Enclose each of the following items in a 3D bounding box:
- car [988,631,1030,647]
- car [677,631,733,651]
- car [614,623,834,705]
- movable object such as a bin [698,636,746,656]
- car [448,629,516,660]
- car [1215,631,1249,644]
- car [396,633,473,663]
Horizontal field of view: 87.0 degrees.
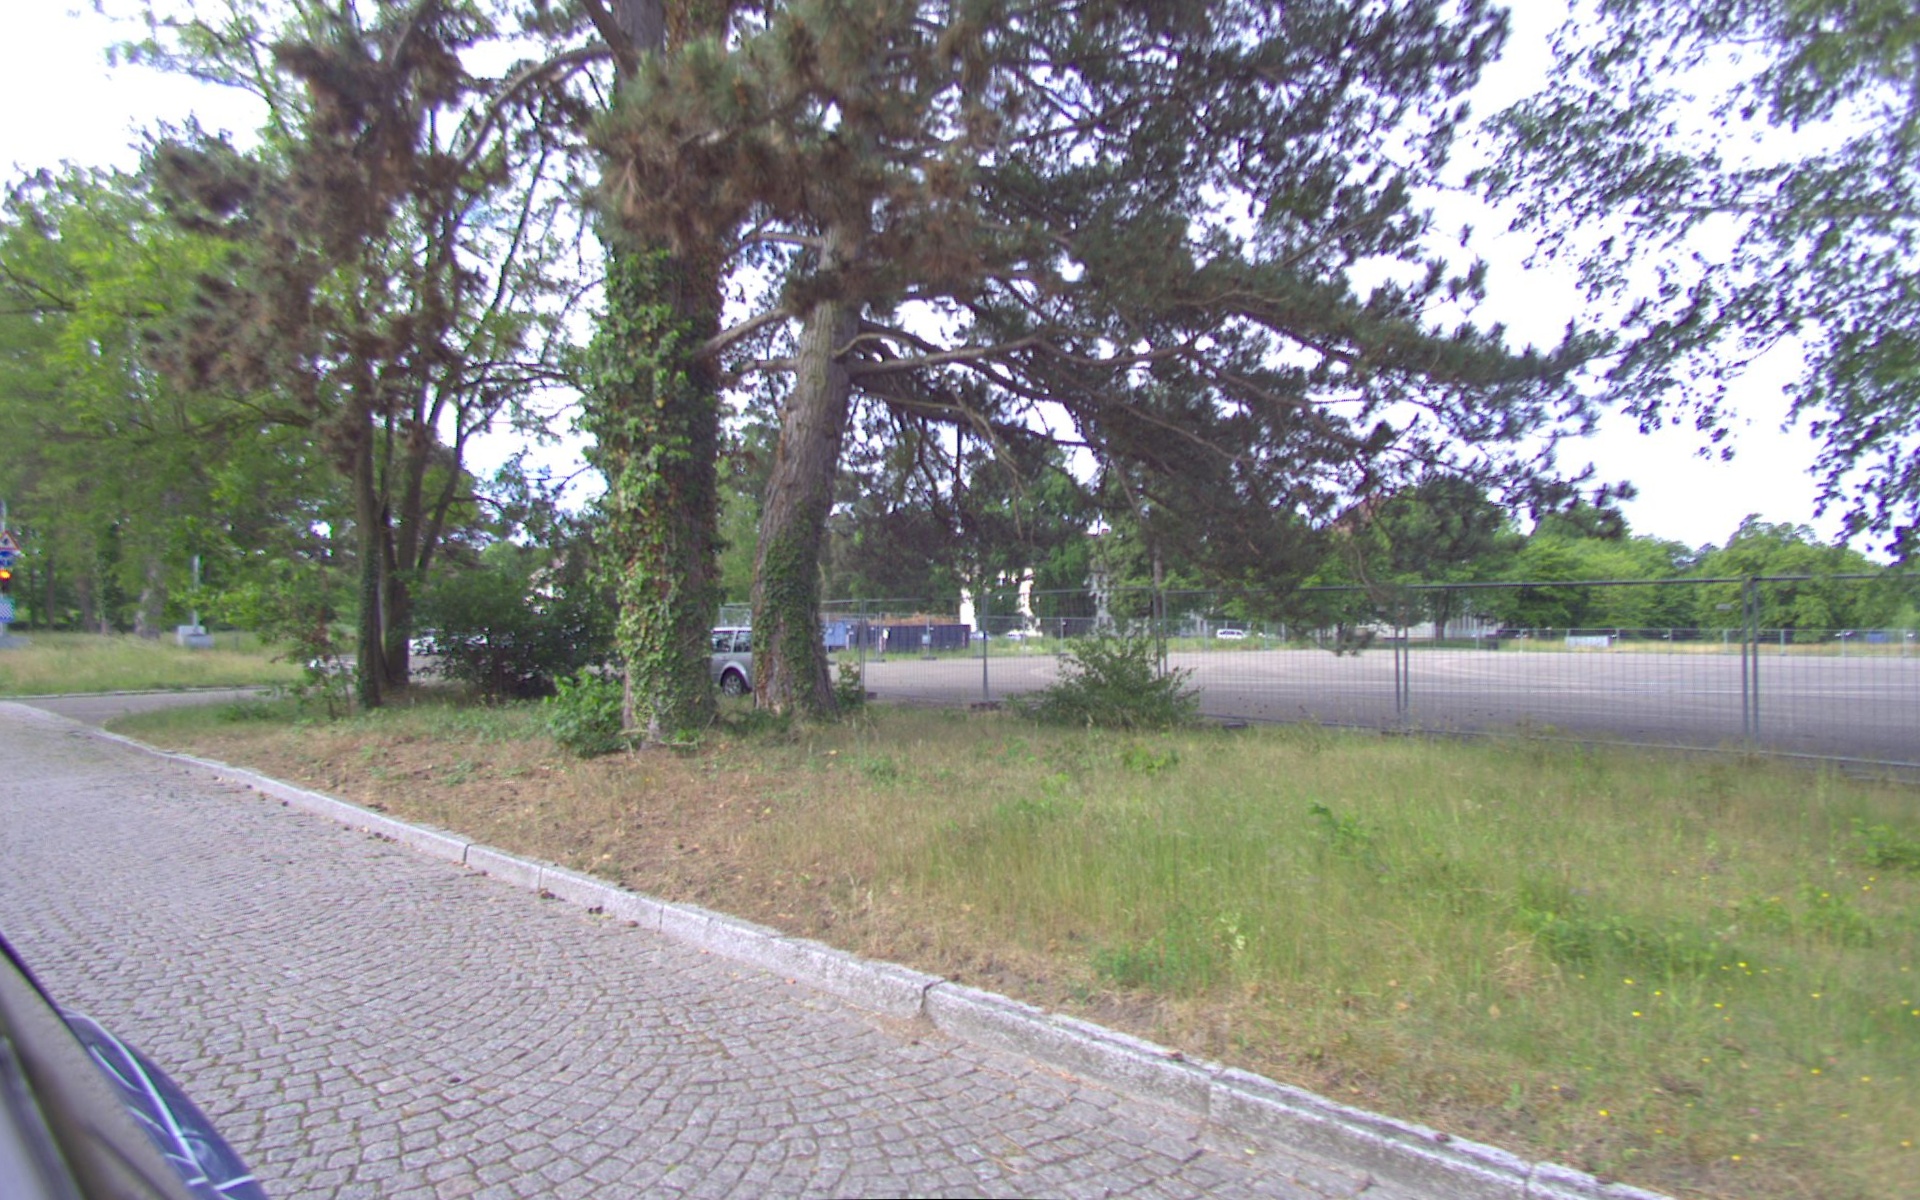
[{"bbox_3d":[5.253,4.160,108.501,1.802,1.736,4.587,2,-3,-42],"label":"car"},{"bbox_3d":[-19.770,3.160,78.524,4.392,1.486,1.809,-1,-2,35],"label":"car"},{"bbox_3d":[-4.693,1.236,19.873,4.414,1.427,1.807,-2,-5,38],"label":"car"},{"bbox_3d":[-11.984,2.296,50.960,1.952,0.976,1.432,-1,-2,32],"label":"movable object such as a bin"},{"bbox_3d":[-25.298,2.372,53.551,3.892,1.532,1.654,-4,-4,37],"label":"car"},{"bbox_3d":[38.529,5.322,143.286,4.288,1.735,1.806,-2,0,41],"label":"car"},{"bbox_3d":[-26.824,2.420,51.597,4.313,1.436,1.807,-2,-2,37],"label":"car"}]
